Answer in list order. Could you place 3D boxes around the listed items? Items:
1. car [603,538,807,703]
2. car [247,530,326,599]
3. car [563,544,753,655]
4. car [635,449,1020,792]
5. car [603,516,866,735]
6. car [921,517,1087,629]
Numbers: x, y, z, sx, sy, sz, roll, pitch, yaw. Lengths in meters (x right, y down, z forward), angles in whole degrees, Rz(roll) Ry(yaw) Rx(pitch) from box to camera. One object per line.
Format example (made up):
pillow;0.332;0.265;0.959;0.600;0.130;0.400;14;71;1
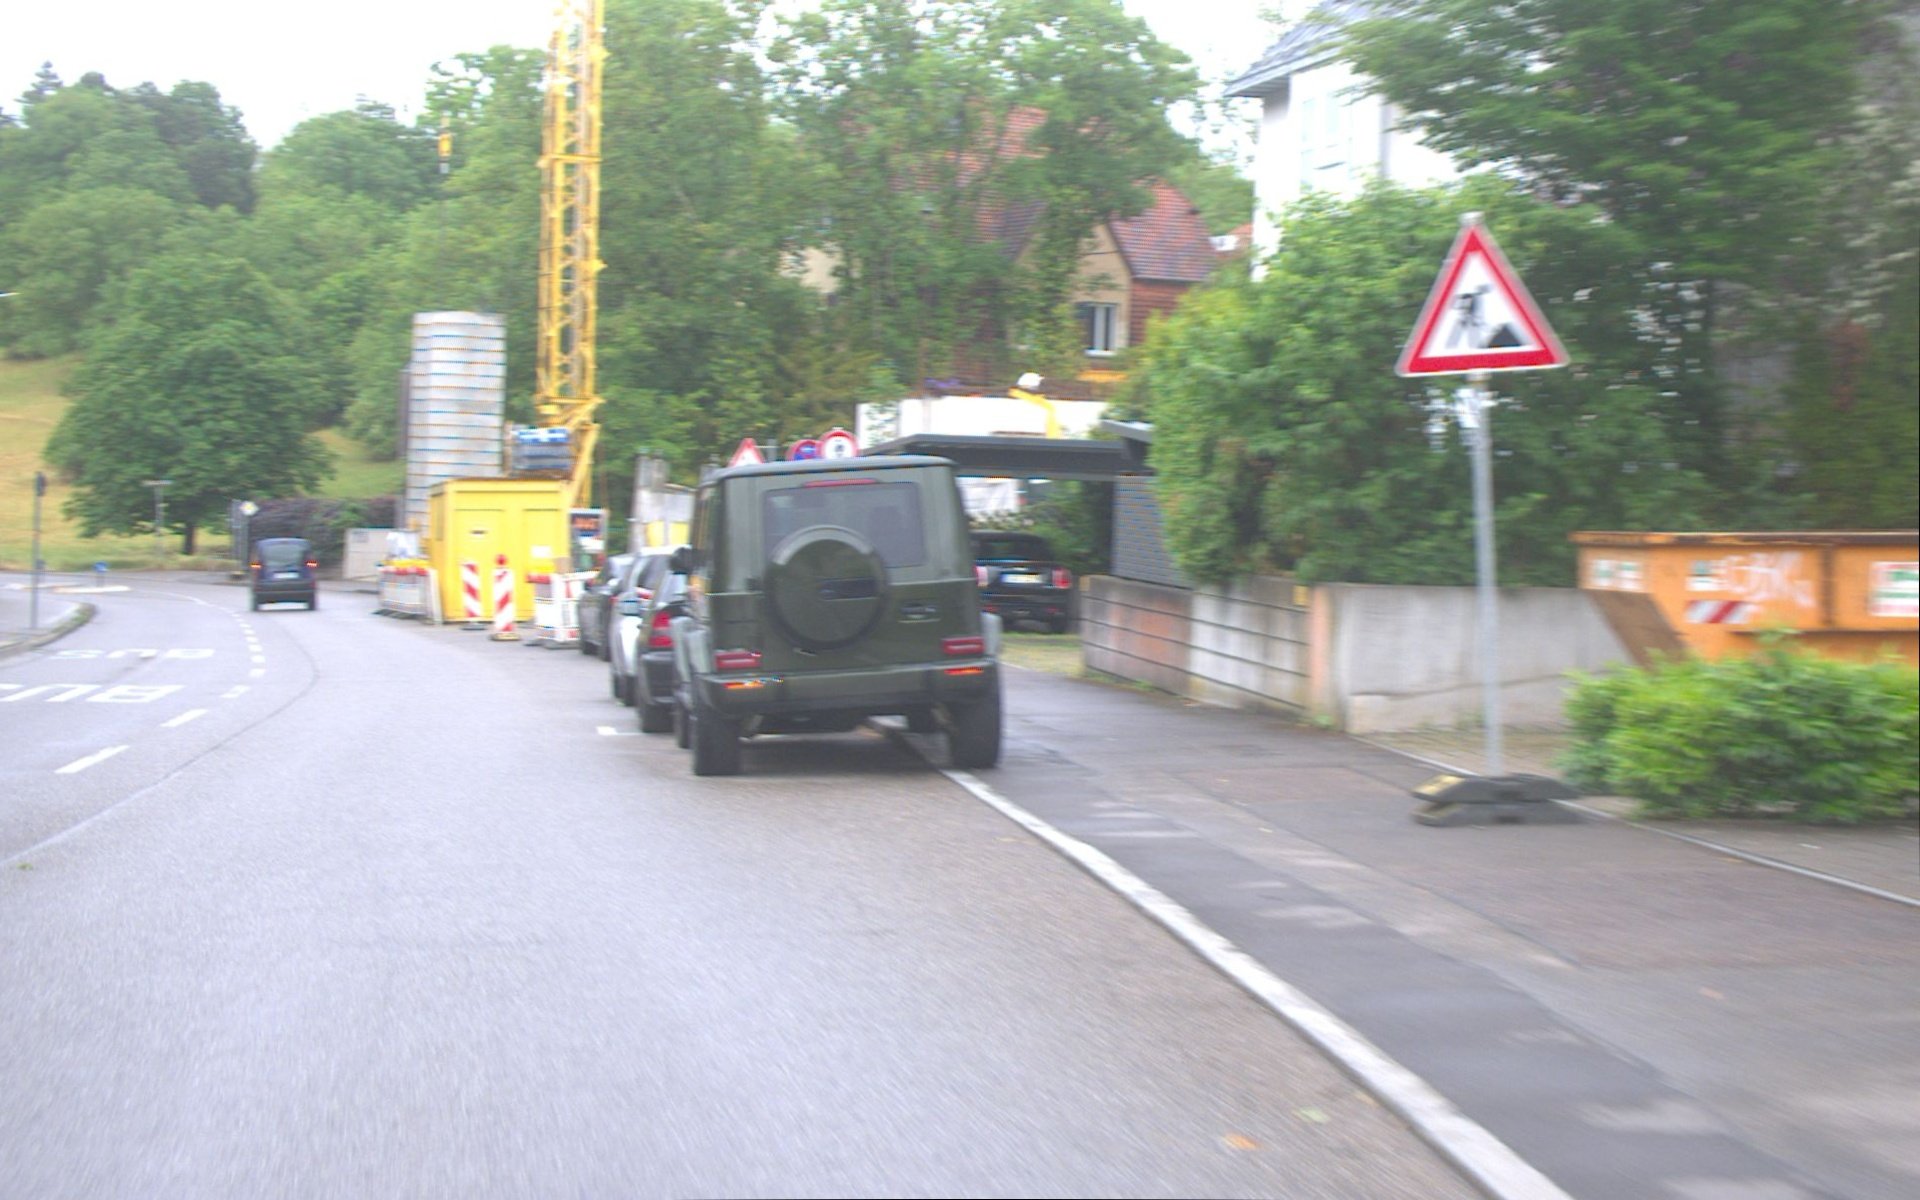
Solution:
car;-2.443;0.156;32.300;1.672;1.452;3.387;-1;1;-8
car;-17.378;-0.926;88.584;1.931;1.745;4.001;0;1;-12
car;-4.156;-0.041;46.588;1.931;1.417;4.839;0;1;-13
car;-1.020;0.080;23.141;1.993;2.007;4.958;-2;1;-9
car;-1.908;0.162;28.144;1.931;1.590;4.395;-2;1;-5
car;0.596;-0.401;49.984;1.694;1.467;4.001;3;0;-9
